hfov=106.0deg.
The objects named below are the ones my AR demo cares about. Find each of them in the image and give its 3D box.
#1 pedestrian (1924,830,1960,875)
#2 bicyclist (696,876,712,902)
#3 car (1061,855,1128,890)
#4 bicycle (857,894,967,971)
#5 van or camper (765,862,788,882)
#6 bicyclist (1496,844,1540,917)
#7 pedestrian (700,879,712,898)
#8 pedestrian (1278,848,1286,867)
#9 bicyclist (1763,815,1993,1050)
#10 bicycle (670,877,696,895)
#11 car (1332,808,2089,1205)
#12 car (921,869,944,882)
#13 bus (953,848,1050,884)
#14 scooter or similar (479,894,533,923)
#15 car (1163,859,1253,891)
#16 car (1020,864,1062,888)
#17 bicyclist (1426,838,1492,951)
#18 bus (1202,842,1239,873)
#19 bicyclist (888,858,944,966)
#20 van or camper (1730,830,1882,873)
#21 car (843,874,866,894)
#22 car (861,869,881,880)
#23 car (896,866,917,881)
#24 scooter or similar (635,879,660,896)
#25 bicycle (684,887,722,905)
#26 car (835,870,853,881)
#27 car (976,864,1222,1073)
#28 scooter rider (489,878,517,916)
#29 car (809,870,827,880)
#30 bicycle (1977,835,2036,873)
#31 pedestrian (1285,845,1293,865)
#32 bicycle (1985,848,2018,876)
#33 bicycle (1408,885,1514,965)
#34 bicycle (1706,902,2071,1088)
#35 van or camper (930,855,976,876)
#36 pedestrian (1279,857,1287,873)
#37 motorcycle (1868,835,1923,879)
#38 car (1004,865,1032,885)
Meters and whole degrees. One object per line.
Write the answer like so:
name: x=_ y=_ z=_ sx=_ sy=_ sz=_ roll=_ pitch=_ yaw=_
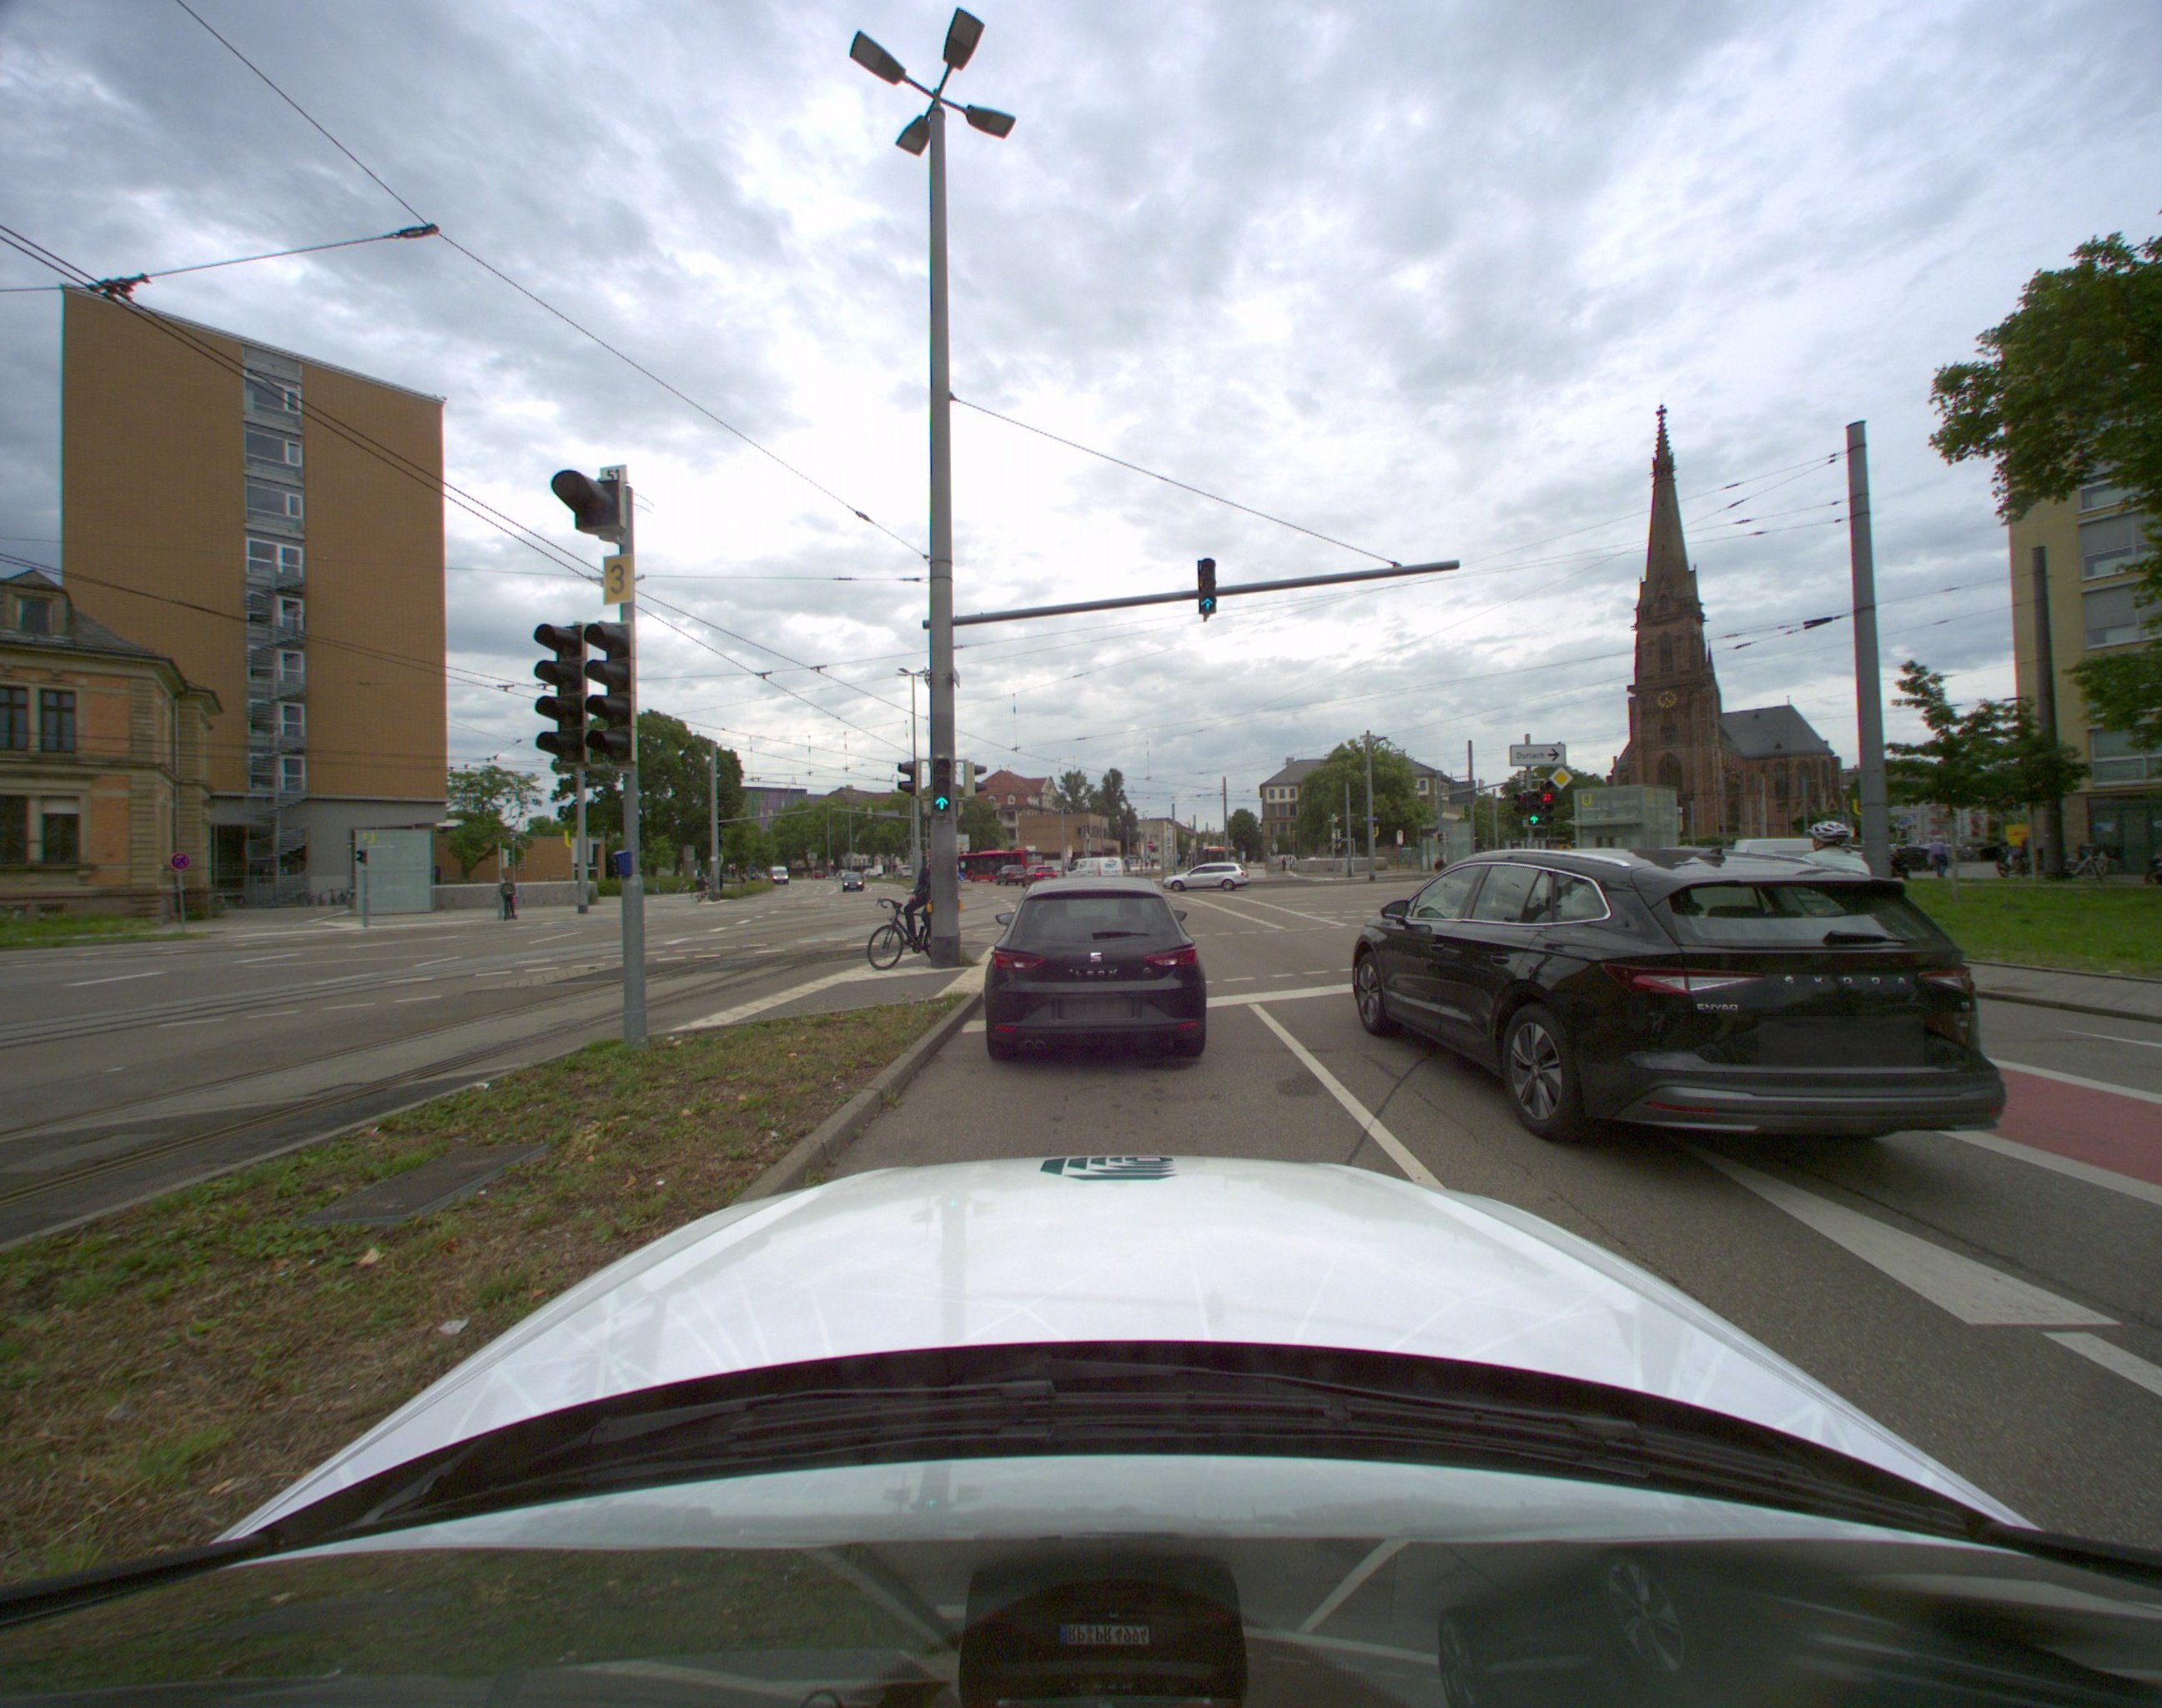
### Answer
pedestrian: x=34.533 y=-0.061 z=32.670 sx=0.910 sy=1.737 sz=0.805 roll=-2 pitch=0 yaw=-33
bicyclist: x=-24.958 y=2.313 z=53.933 sx=0.814 sy=1.656 sz=0.789 roll=-2 pitch=-1 yaw=-16
car: x=0.795 y=1.172 z=51.501 sx=2.005 sy=2.019 sz=4.984 roll=-1 pitch=-1 yaw=-29
bicycle: x=-2.670 y=1.211 z=12.934 sx=1.622 sy=1.070 sz=0.522 roll=-1 pitch=-1 yaw=-38
van or camper: x=-41.062 y=2.493 z=109.852 sx=2.291 sy=2.527 sz=5.525 roll=-2 pitch=0 yaw=-26
bicyclist: x=10.851 y=0.652 z=20.224 sx=0.736 sy=1.751 sz=0.581 roll=-2 pitch=-1 yaw=-25
pedestrian: x=-34.418 y=3.169 z=74.759 sx=0.747 sy=1.734 sz=0.683 roll=-2 pitch=0 yaw=-13
pedestrian: x=44.736 y=0.764 z=181.270 sx=1.381 sy=4.254 sz=1.347 roll=-2 pitch=-1 yaw=2
bicyclist: x=5.886 y=0.544 z=6.086 sx=0.786 sy=1.618 sz=0.933 roll=0 pitch=-1 yaw=0
bicycle: x=-34.587 y=2.784 z=70.807 sx=0.842 sy=1.449 sz=2.258 roll=-2 pitch=-1 yaw=7
car: x=3.414 y=0.679 z=5.783 sx=1.897 sy=1.658 sz=4.515 roll=-2 pitch=-1 yaw=1
car: x=-18.608 y=2.635 z=101.855 sx=2.002 sy=1.539 sz=3.969 roll=-1 pitch=-1 yaw=-23
bus: x=-8.172 y=1.245 z=81.659 sx=3.085 sy=3.298 sz=12.231 roll=-1 pitch=-1 yaw=-41
scooter or similar: x=-25.200 y=2.387 z=35.719 sx=0.567 sy=1.165 sz=1.917 roll=-2 pitch=-1 yaw=23
car: x=6.886 y=1.141 z=44.181 sx=4.578 sy=1.482 sz=1.733 roll=-3 pitch=0 yaw=15
car: x=-2.970 y=1.583 z=59.268 sx=1.864 sy=1.600 sz=4.177 roll=-2 pitch=-1 yaw=-20
bicyclist: x=5.884 y=0.612 z=12.714 sx=0.613 sy=1.690 sz=0.805 roll=-2 pitch=0 yaw=-1
bus: x=16.038 y=0.404 z=93.072 sx=2.994 sy=3.268 sz=13.092 roll=-2 pitch=-1 yaw=14
bicyclist: x=-2.629 y=0.903 z=12.969 sx=0.658 sy=1.639 sz=0.512 roll=-1 pitch=-1 yaw=-38
van or camper: x=37.313 y=-0.108 z=42.136 sx=5.403 sy=1.979 sz=2.183 roll=-2 pitch=-1 yaw=20
car: x=-18.272 y=2.383 z=65.588 sx=1.622 sy=1.515 sz=3.643 roll=-3 pitch=0 yaw=-17
car: x=-33.761 y=3.270 z=130.950 sx=2.007 sy=1.750 sz=3.959 roll=-1 pitch=-1 yaw=-32
car: x=-24.667 y=2.711 z=114.786 sx=2.004 sy=2.014 sz=3.966 roll=-1 pitch=-1 yaw=-26
scooter or similar: x=-36.224 y=2.789 z=68.096 sx=1.781 sy=1.302 sz=0.624 roll=-2 pitch=-1 yaw=-30
bicycle: x=-24.995 y=2.776 z=53.910 sx=2.117 sy=1.028 sz=0.791 roll=-2 pitch=0 yaw=-16
car: x=-38.755 y=3.499 z=133.240 sx=2.006 sy=1.640 sz=3.961 roll=-1 pitch=-1 yaw=-30
car: x=0.187 y=0.847 z=7.835 sx=1.739 sy=1.464 sz=4.001 roll=-1 pitch=-1 yaw=2
scooter rider: x=-25.269 y=1.885 z=35.612 sx=0.562 sy=1.628 sz=0.826 roll=-2 pitch=-1 yaw=22
car: x=-46.970 y=3.806 z=145.521 sx=2.009 sy=1.772 sz=3.956 roll=-1 pitch=-1 yaw=-35
bicycle: x=36.028 y=0.006 z=31.692 sx=2.792 sy=1.377 sz=0.895 roll=-2 pitch=-1 yaw=-29
pedestrian: x=46.273 y=0.259 z=181.299 sx=1.302 sy=4.254 sz=1.347 roll=-2 pitch=-1 yaw=2
bicycle: x=40.406 y=0.351 z=35.733 sx=2.048 sy=1.169 sz=0.663 roll=-2 pitch=0 yaw=-34
bicycle: x=5.882 y=1.061 z=12.754 sx=0.623 sy=1.055 sz=2.125 roll=-2 pitch=0 yaw=0
bicycle: x=5.893 y=0.949 z=6.173 sx=0.759 sy=1.079 sz=2.016 roll=0 pitch=-1 yaw=0
van or camper: x=-21.713 y=1.897 z=138.346 sx=7.192 sy=3.332 sz=2.841 roll=-1 pitch=-2 yaw=-43
pedestrian: x=24.966 y=1.361 z=100.487 sx=0.817 sy=1.853 sz=1.026 roll=-2 pitch=-1 yaw=17
motorcycle: x=27.124 y=0.089 z=27.112 sx=2.304 sy=1.366 sz=1.034 roll=-2 pitch=-1 yaw=-40
car: x=-5.436 y=1.768 z=69.420 sx=1.993 sy=1.566 sz=4.190 roll=-2 pitch=-1 yaw=-10
